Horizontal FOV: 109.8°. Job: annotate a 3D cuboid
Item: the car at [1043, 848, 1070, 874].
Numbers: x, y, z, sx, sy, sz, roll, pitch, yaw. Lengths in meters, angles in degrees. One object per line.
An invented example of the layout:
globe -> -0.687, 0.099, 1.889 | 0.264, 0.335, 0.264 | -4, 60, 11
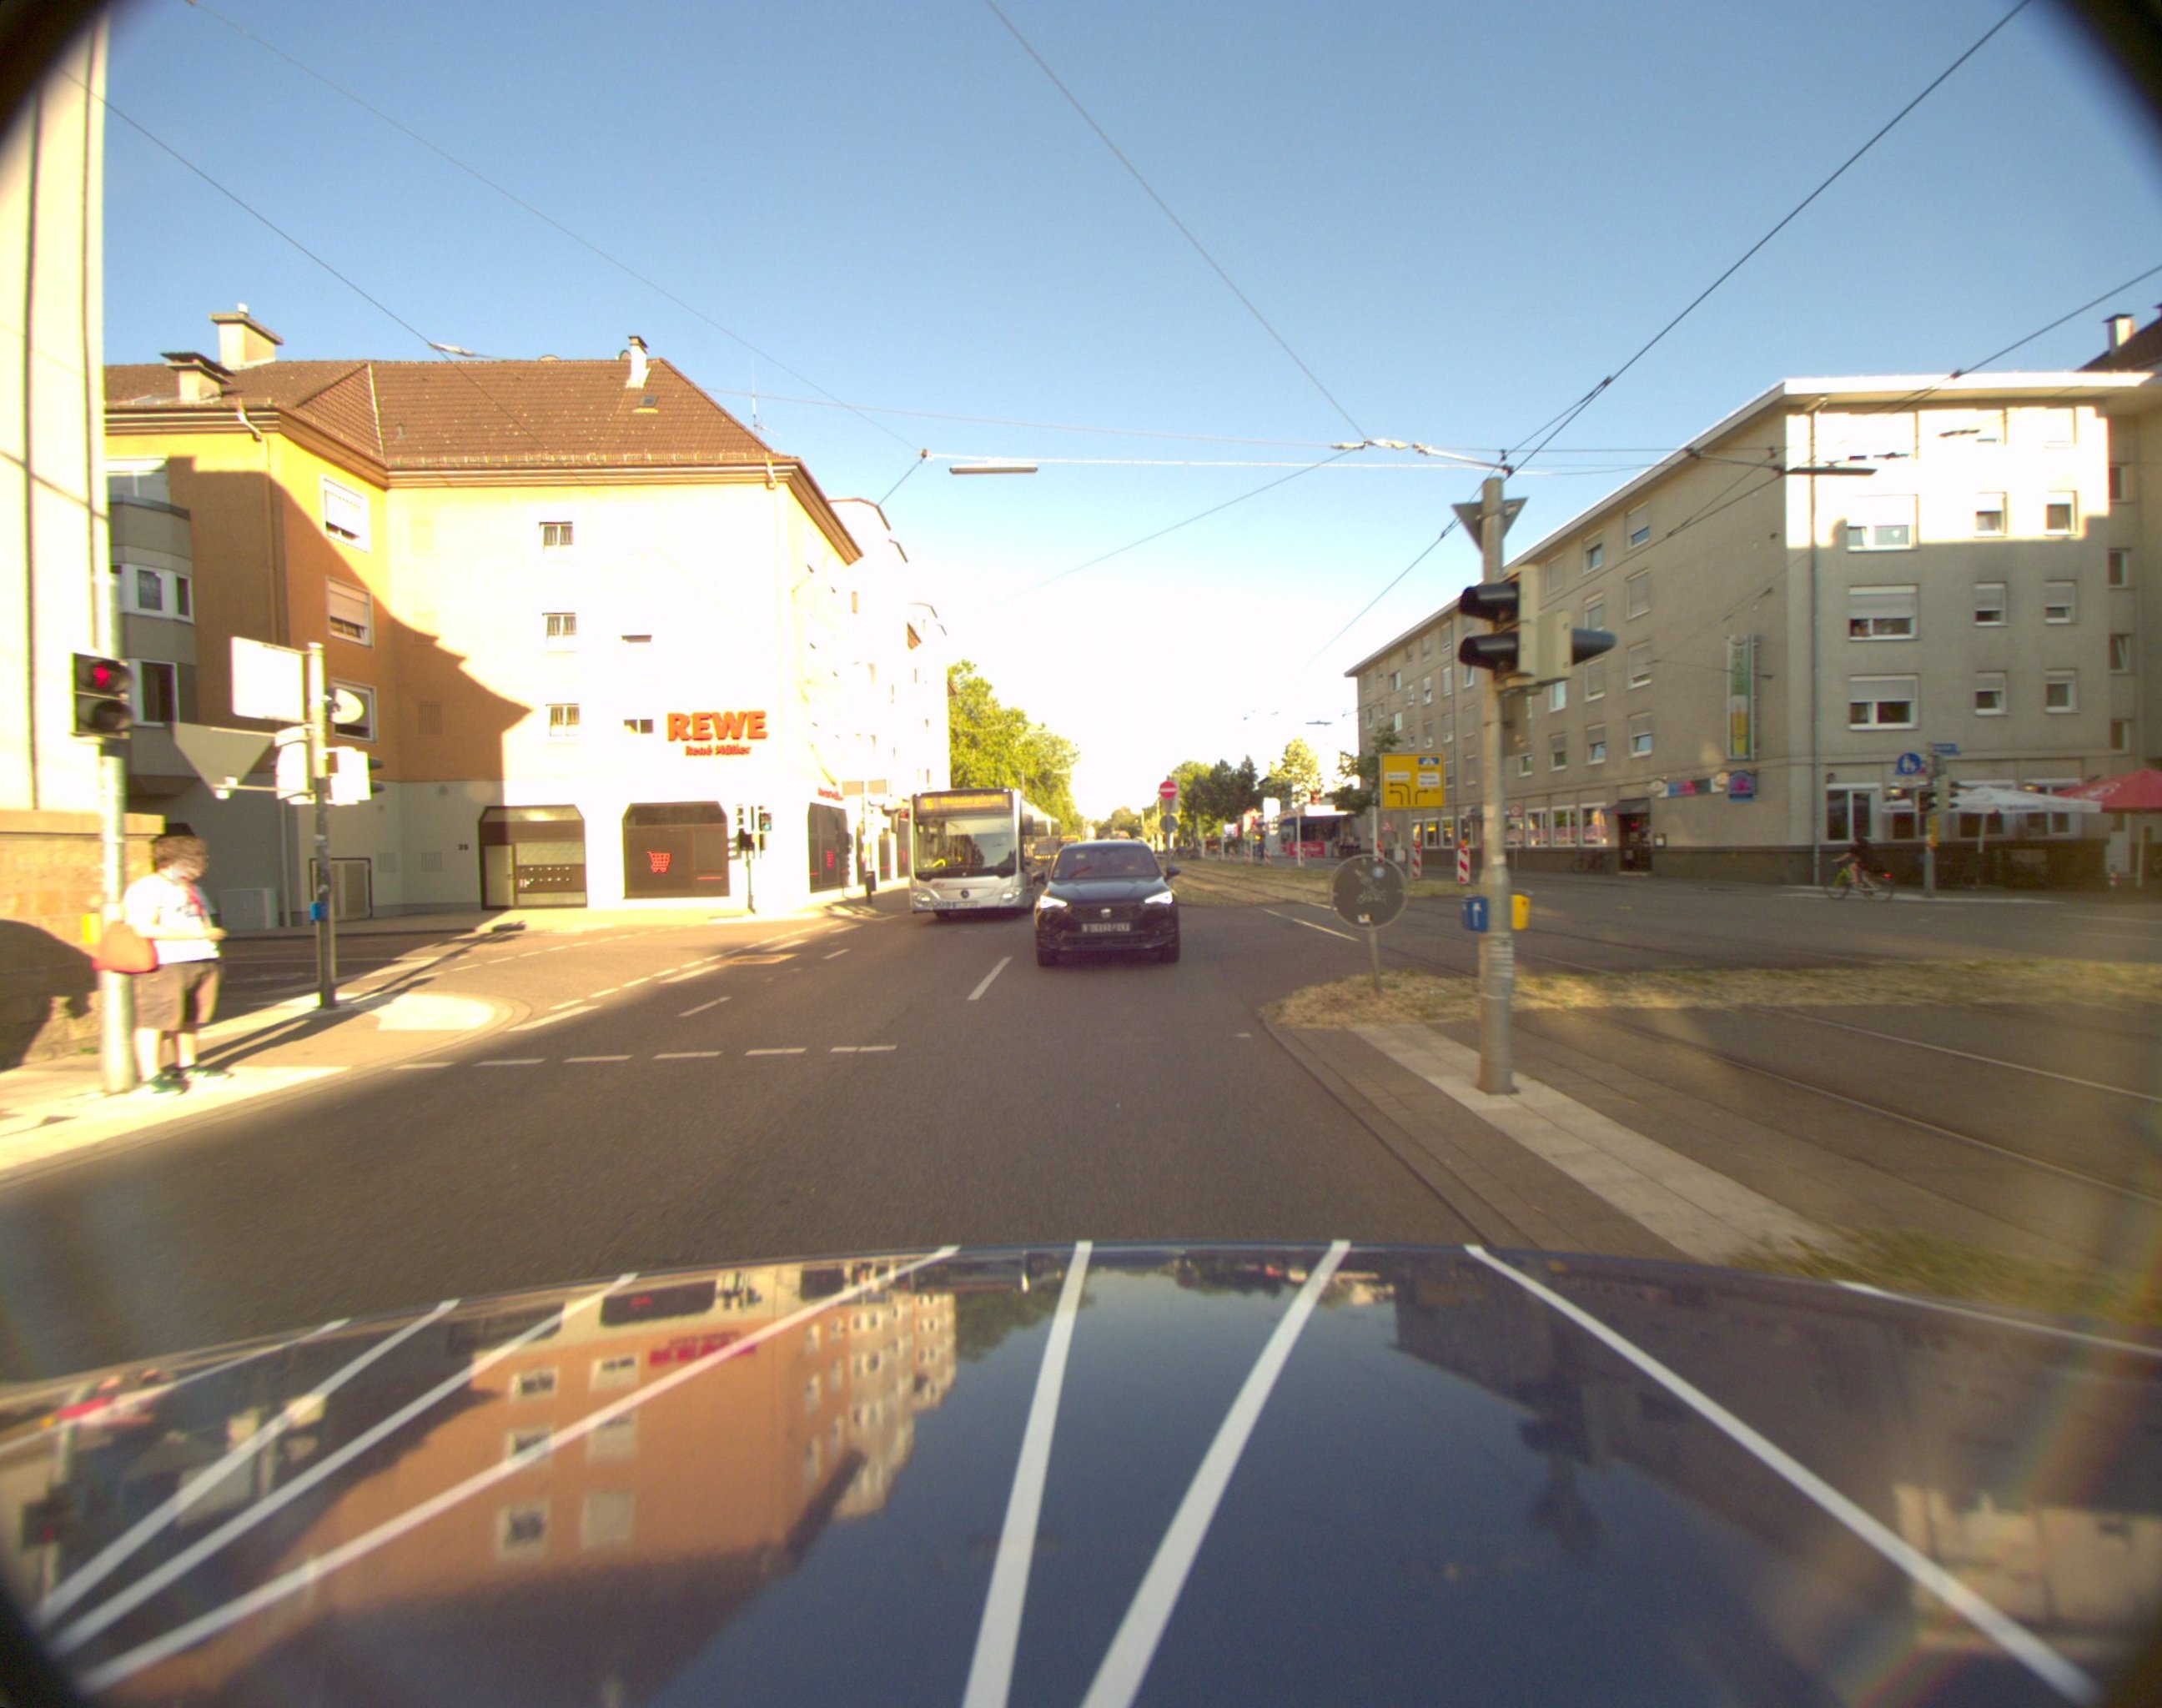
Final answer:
car -> -1.673, 0.434, 52.719 | 1.750, 1.598, 3.823 | -3, 1, -1

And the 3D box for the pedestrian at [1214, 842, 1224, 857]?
pedestrian -> 11.767, -0.404, 64.824 | 0.664, 1.263, 0.581 | -3, 1, 1

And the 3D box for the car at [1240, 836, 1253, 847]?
car -> 25.756, -2.006, 118.461 | 1.781, 1.547, 4.001 | -3, 2, 9

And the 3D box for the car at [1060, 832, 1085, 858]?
car -> -0.926, -1.061, 88.469 | 2.681, 2.875, 5.451 | -3, 1, 0

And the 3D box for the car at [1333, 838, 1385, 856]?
car -> 23.675, -0.597, 64.868 | 3.727, 1.460, 1.908 | -1, -1, -1

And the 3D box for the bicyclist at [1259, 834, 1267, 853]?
bicyclist -> 17.980, -1.076, 75.007 | 0.652, 1.872, 0.809 | -1, 1, 1

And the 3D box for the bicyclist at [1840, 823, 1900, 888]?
bicyclist -> 19.588, 0.037, 18.880 | 0.627, 1.577, 0.809 | -2, 1, 5

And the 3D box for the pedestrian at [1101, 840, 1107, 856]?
pedestrian -> 2.910, -0.754, 96.847 | 0.625, 2.002, 0.695 | -3, 1, 0

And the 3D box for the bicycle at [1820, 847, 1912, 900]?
bicycle -> 19.600, 0.464, 19.027 | 0.456, 1.250, 1.871 | -2, 0, 5

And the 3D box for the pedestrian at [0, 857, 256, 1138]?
pedestrian -> -6.535, 0.912, 5.192 | 0.837, 1.752, 0.823 | 0, 2, 0

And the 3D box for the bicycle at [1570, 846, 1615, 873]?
bicycle -> 21.327, 0.206, 31.720 | 0.609, 1.018, 1.844 | -3, 2, 0

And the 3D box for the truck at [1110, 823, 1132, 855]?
truck -> 5.118, -1.978, 97.793 | 2.306, 3.799, 7.721 | -3, 1, 1

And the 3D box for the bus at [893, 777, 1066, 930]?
bus -> -2.308, -0.161, 24.885 | 2.773, 3.132, 17.739 | -2, 1, 1

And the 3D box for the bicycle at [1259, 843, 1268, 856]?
bicycle -> 18.005, -0.429, 75.031 | 0.456, 1.250, 1.871 | -2, 0, 2

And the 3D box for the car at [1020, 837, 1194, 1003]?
car -> 0.298, 0.691, 10.134 | 1.774, 1.667, 3.999 | -4, 1, 1
